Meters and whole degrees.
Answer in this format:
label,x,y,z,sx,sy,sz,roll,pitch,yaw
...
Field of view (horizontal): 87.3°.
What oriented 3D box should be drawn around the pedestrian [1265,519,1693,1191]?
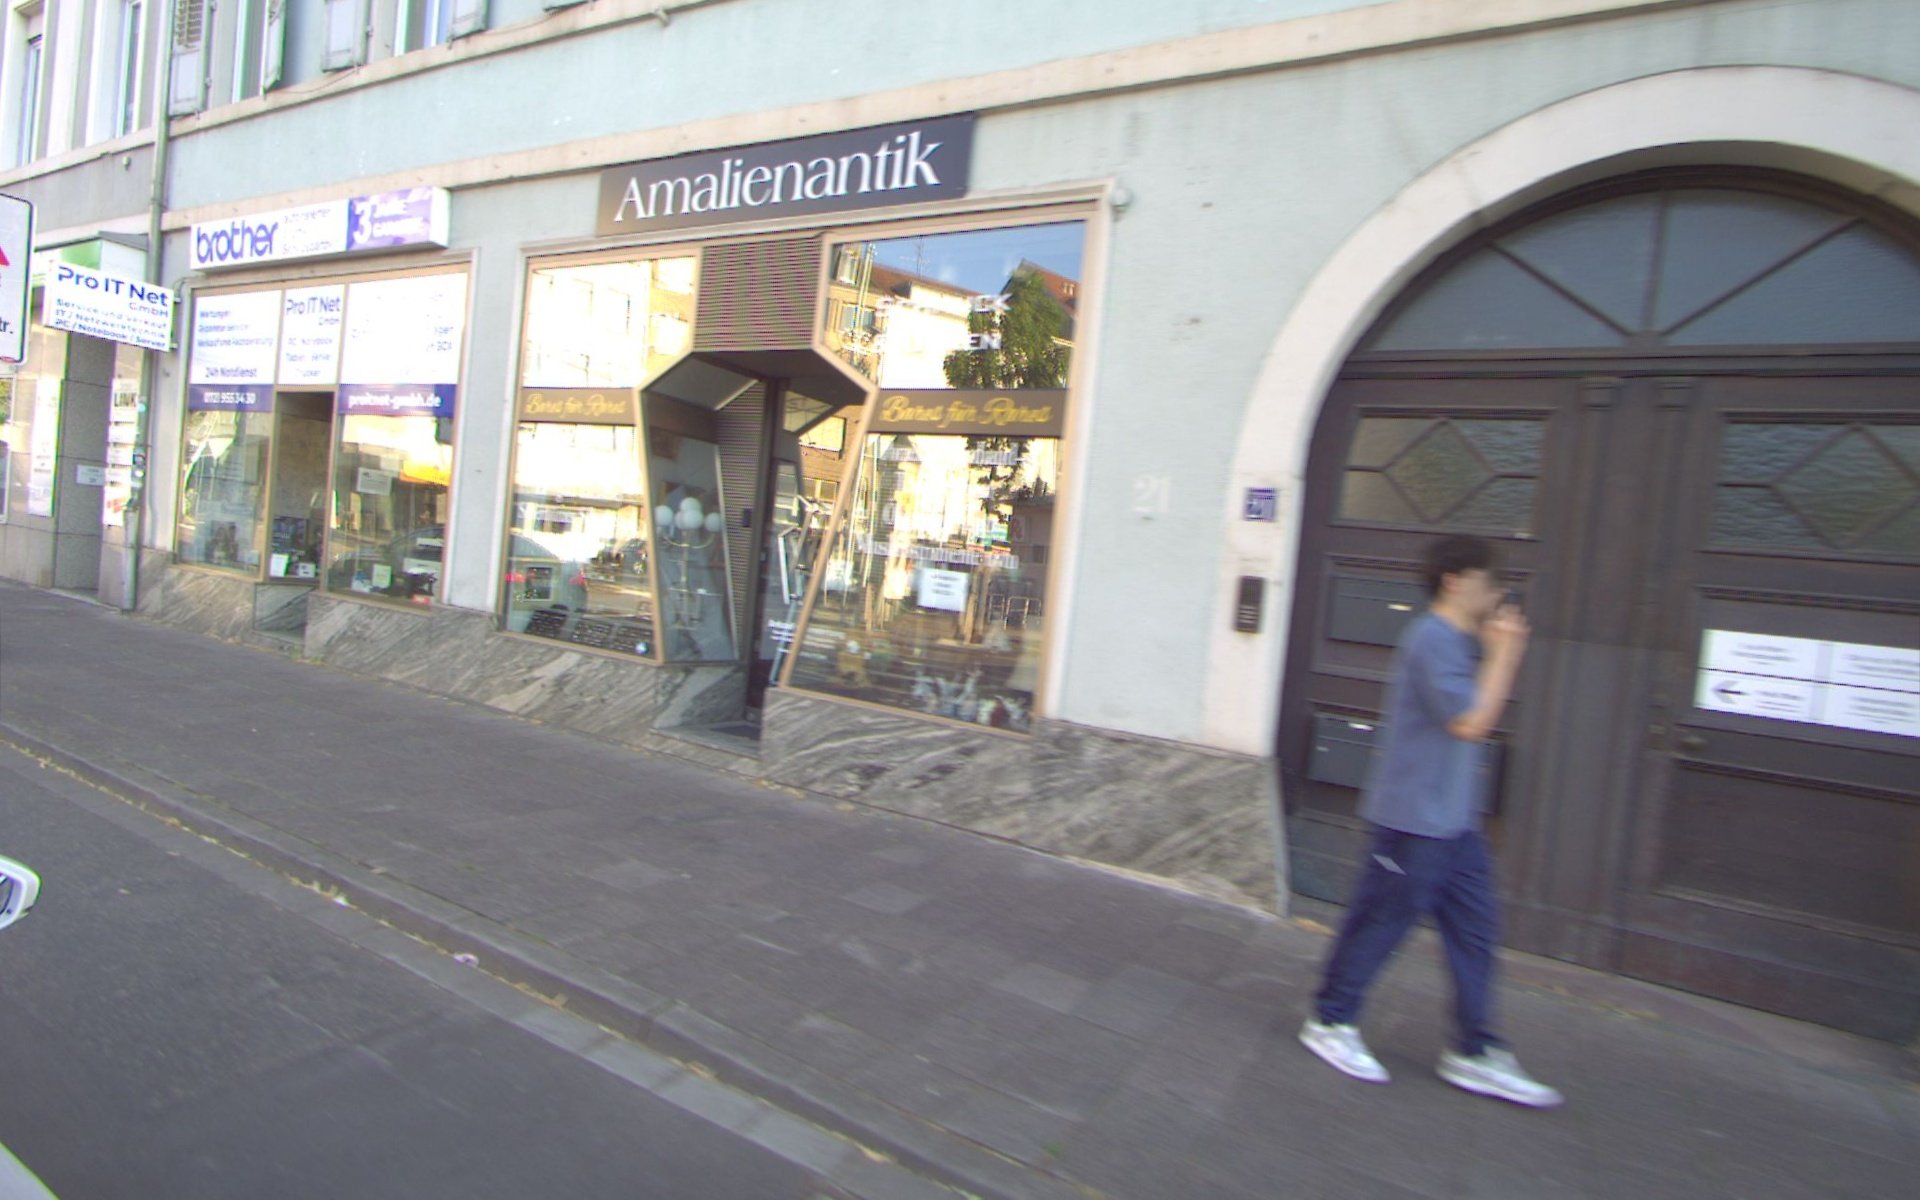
label,x,y,z,sx,sy,sz,roll,pitch,yaw
pedestrian,1.556,0.653,3.104,0.856,1.663,0.824,7,3,28
